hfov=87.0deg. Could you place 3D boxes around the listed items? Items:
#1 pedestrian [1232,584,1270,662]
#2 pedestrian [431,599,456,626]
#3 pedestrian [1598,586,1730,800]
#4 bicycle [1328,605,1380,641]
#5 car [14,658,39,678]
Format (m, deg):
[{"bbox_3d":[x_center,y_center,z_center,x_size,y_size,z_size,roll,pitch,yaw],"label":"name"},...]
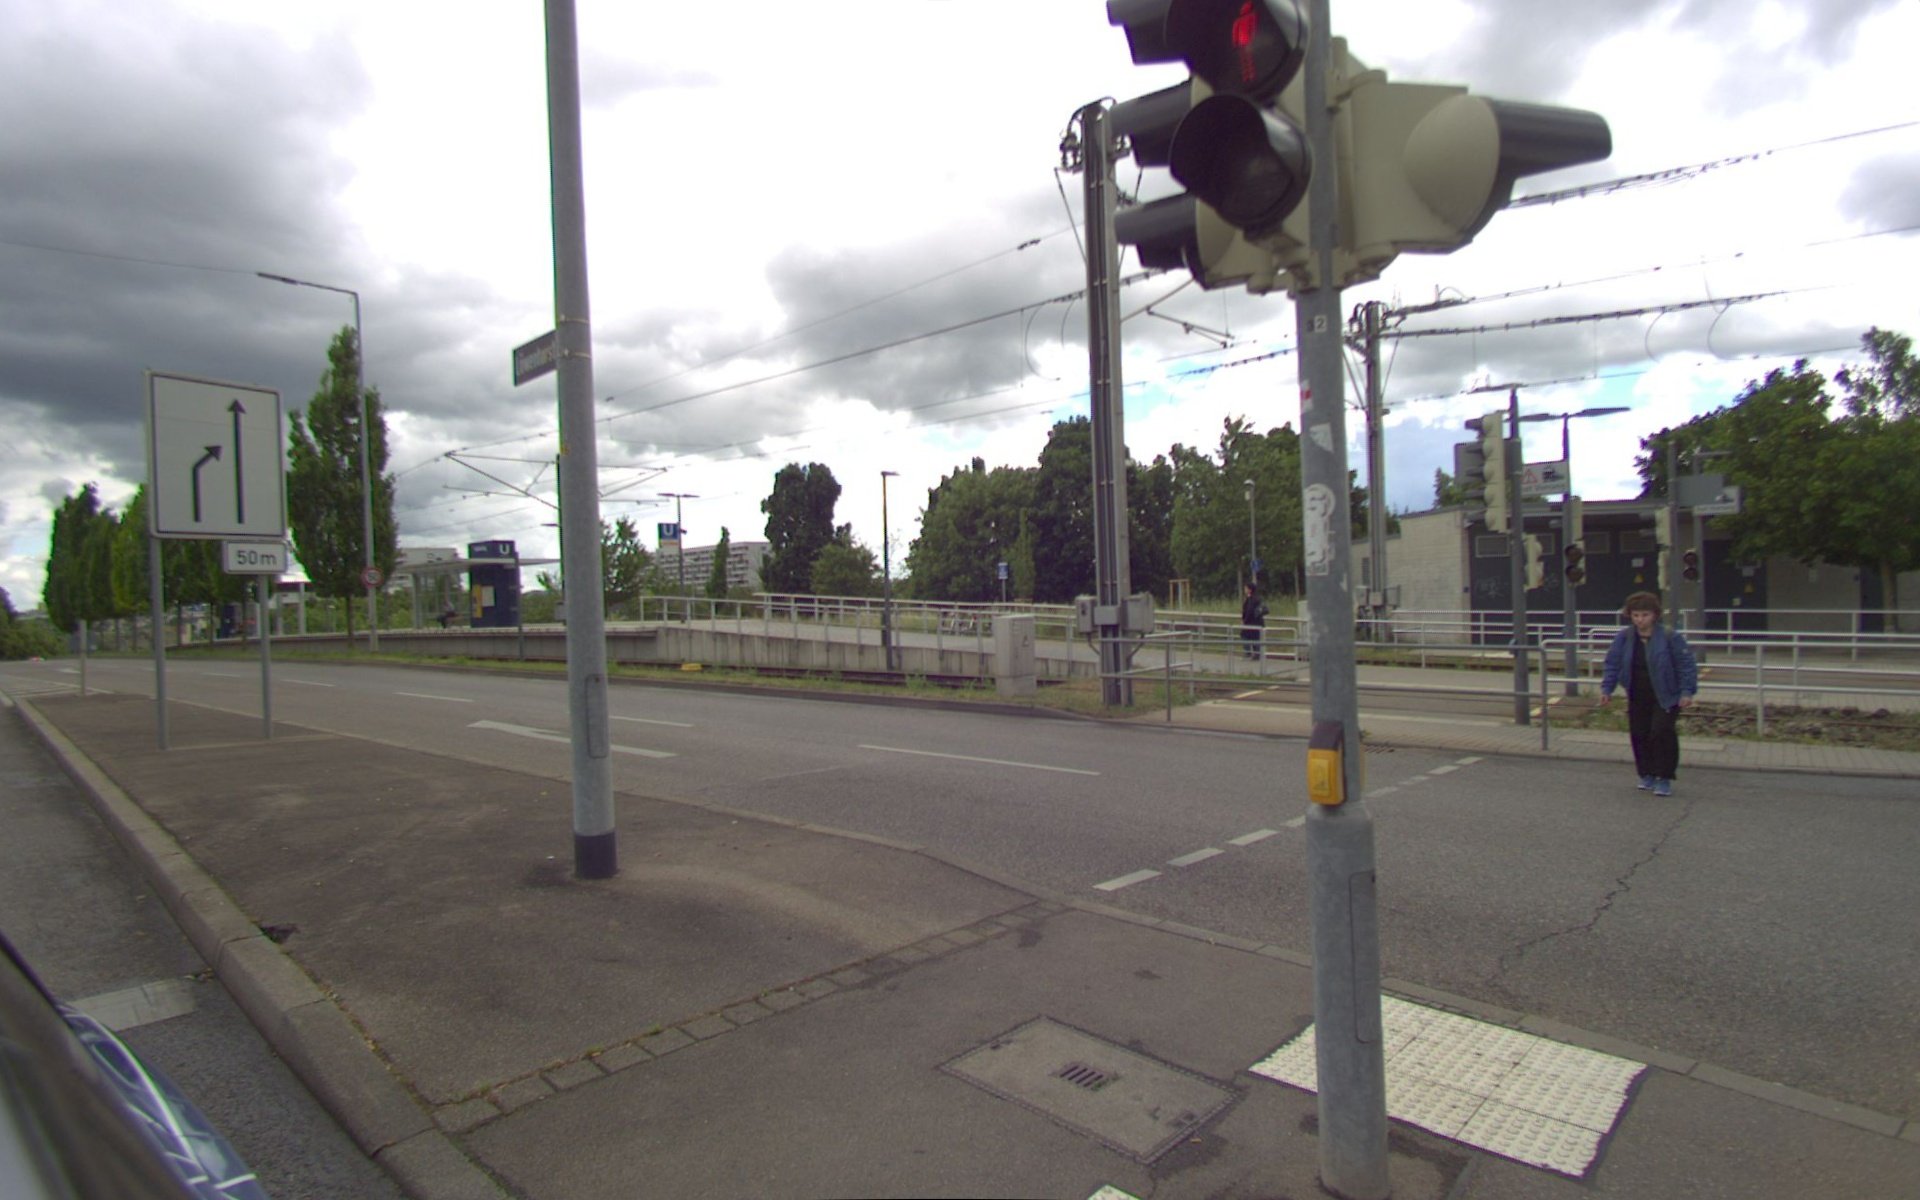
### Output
[{"bbox_3d":[6.049,0.474,21.031,0.545,1.584,0.556,2,2,43],"label":"pedestrian"},{"bbox_3d":[-23.170,0.565,45.396,0.838,1.184,0.741,0,0,43],"label":"pedestrian"},{"bbox_3d":[5.400,0.667,7.766,0.705,1.542,0.671,0,0,-42],"label":"pedestrian"},{"bbox_3d":[12.689,0.718,32.674,0.668,1.114,2.258,0,0,-4],"label":"bicycle"},{"bbox_3d":[-104.586,7.576,113.354,1.970,2.029,4.003,0,0,-44],"label":"car"}]
